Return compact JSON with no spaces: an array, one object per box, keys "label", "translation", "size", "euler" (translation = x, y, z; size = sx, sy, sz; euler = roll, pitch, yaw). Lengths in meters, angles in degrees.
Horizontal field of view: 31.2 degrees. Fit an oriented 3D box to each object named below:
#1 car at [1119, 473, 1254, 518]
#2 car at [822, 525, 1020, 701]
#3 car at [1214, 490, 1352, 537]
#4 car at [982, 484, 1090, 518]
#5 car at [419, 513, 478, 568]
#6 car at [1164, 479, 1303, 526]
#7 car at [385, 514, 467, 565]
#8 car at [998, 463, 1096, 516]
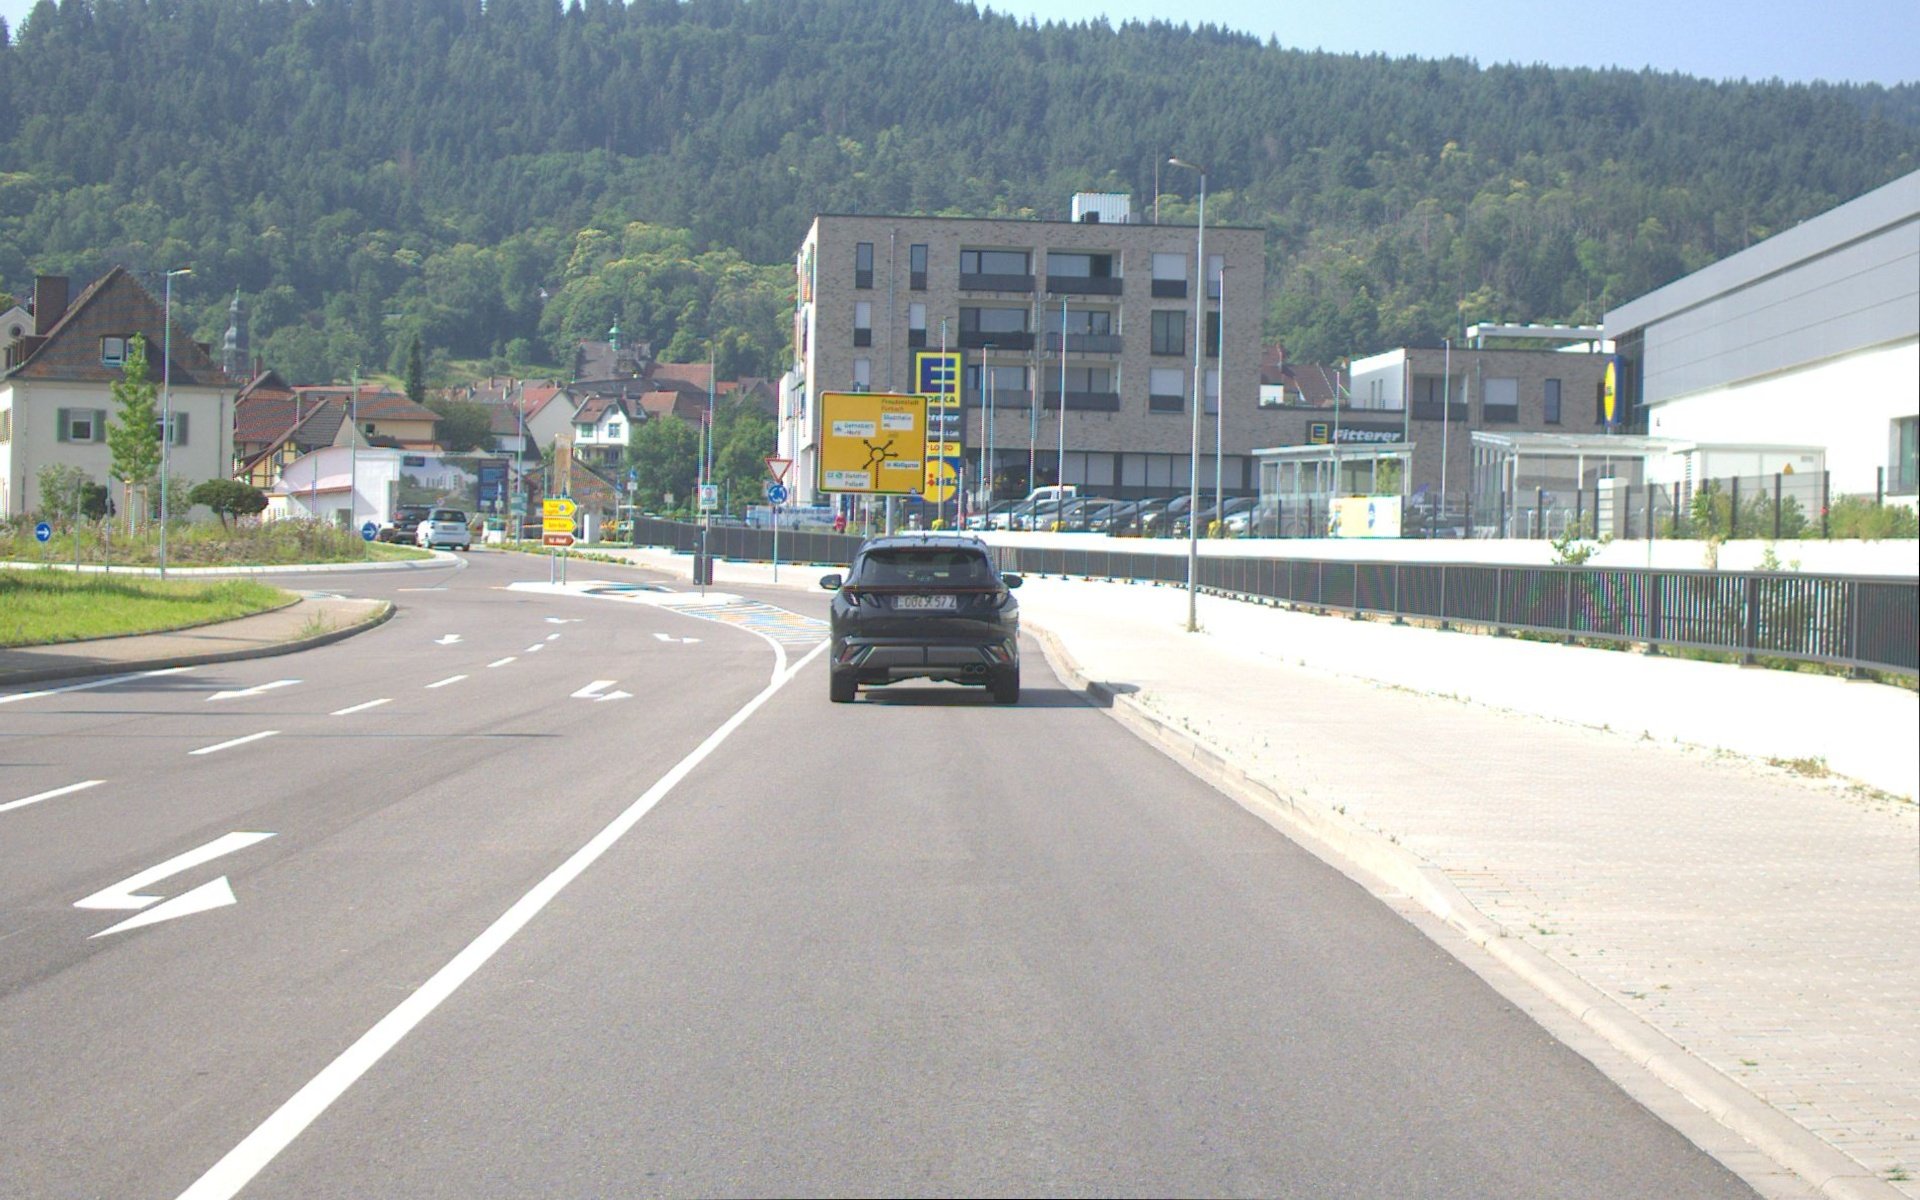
[{"label":"car","translation":[7.358,-3.392,111.619],"size":[4.004,1.399,1.726],"euler":[0,2,-19]},{"label":"car","translation":[-0.450,0.085,34.820],"size":[1.881,1.678,4.001],"euler":[0,1,-2]},{"label":"car","translation":[9.862,-2.640,104.963],"size":[3.804,1.359,1.681],"euler":[0,2,-19]},{"label":"car","translation":[2.776,-3.623,125.697],"size":[3.554,1.195,1.715],"euler":[0,2,-18]},{"label":"car","translation":[-18.973,-2.208,127.637],"size":[1.993,2.007,4.001],"euler":[0,1,-6]},{"label":"car","translation":[8.579,-3.064,107.924],"size":[4.060,1.399,1.486],"euler":[0,2,-19]},{"label":"car","translation":[-21.559,-2.454,138.893],"size":[1.994,2.007,3.998],"euler":[0,1,11]},{"label":"car","translation":[3.592,-4.538,141.494],"size":[3.987,2.128,2.000],"euler":[0,1,3]}]
